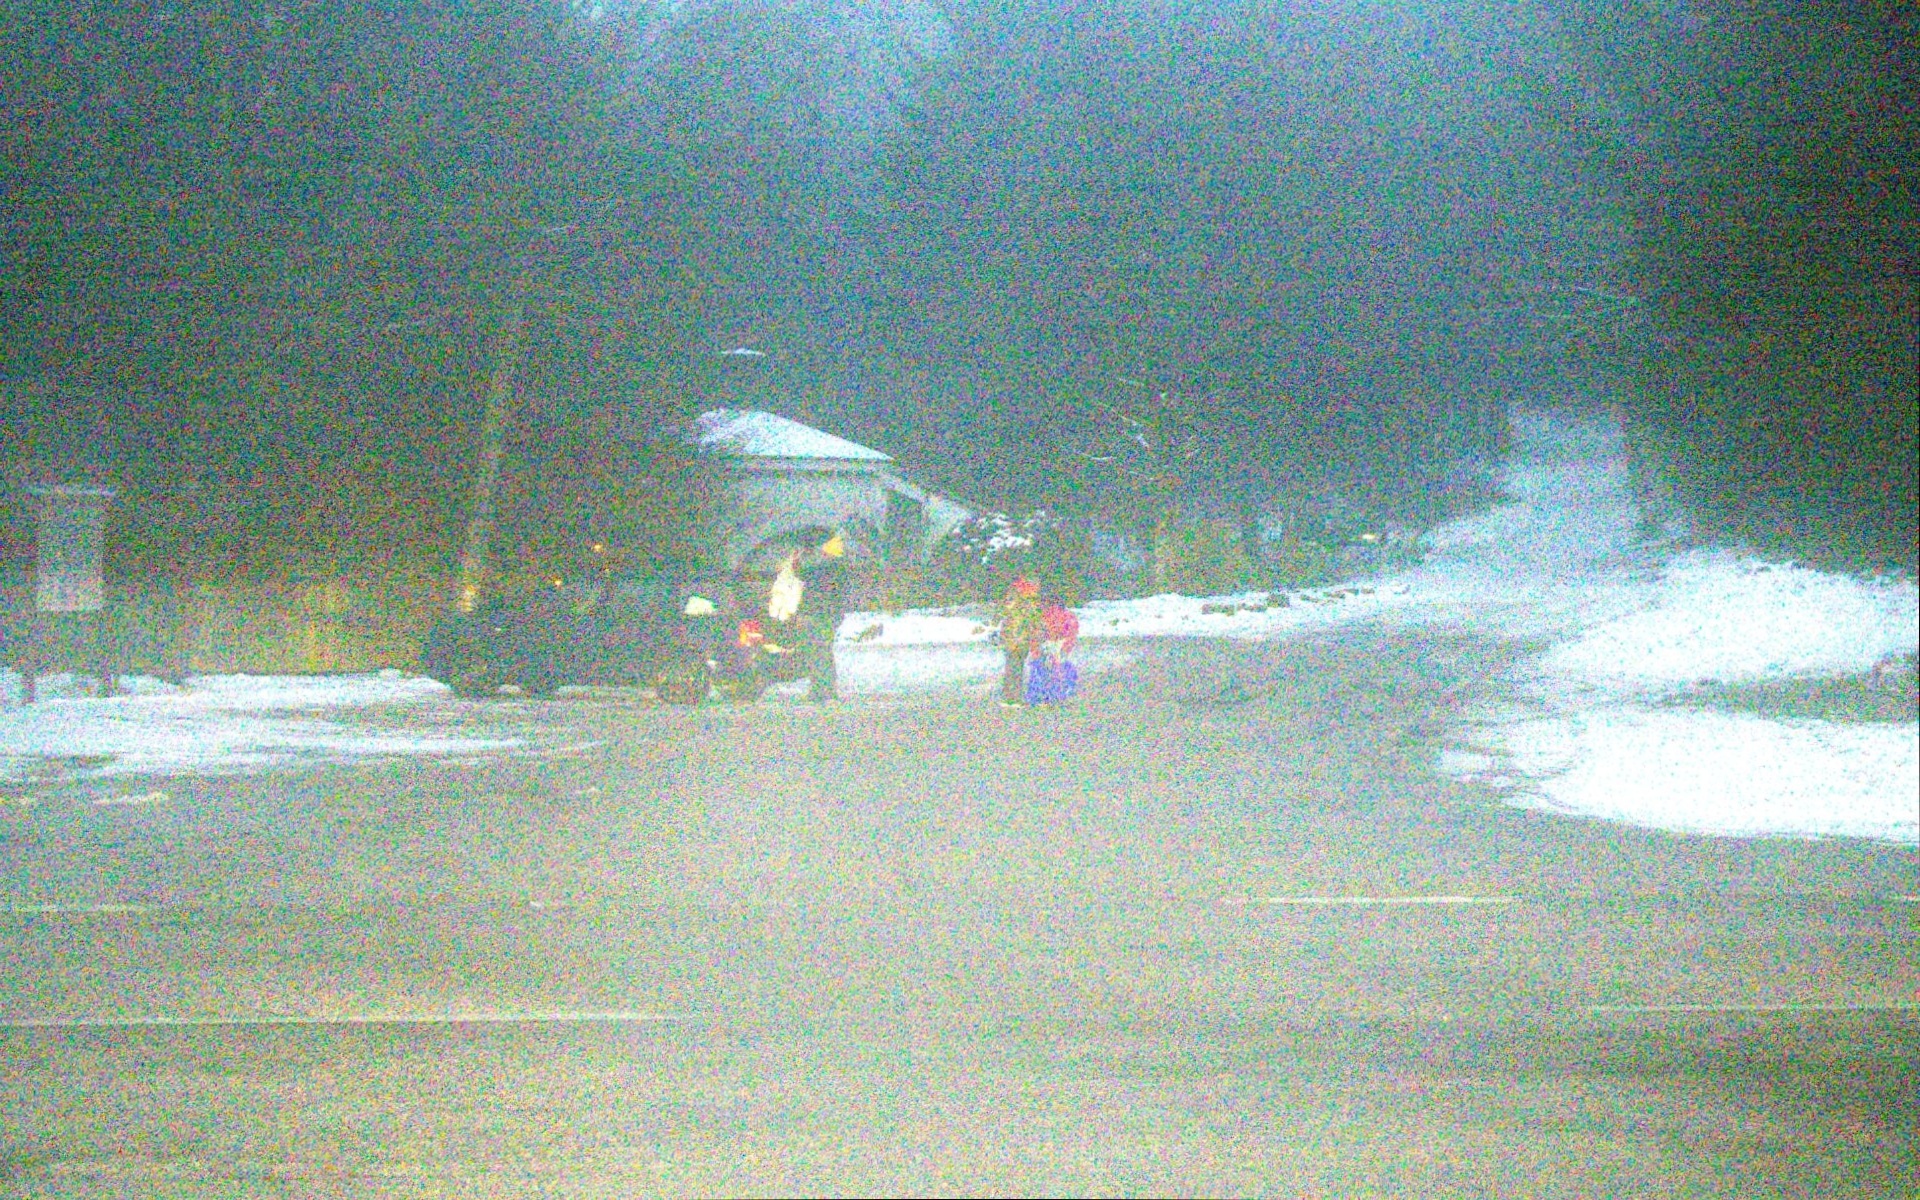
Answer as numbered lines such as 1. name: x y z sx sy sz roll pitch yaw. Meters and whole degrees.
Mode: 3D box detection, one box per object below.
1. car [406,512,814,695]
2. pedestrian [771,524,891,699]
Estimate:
1. car: -3.809 0.032 37.671 3.950 1.875 1.998 1 0 16
2. pedestrian: -1.369 0.127 36.618 0.961 1.822 0.924 1 -1 21
